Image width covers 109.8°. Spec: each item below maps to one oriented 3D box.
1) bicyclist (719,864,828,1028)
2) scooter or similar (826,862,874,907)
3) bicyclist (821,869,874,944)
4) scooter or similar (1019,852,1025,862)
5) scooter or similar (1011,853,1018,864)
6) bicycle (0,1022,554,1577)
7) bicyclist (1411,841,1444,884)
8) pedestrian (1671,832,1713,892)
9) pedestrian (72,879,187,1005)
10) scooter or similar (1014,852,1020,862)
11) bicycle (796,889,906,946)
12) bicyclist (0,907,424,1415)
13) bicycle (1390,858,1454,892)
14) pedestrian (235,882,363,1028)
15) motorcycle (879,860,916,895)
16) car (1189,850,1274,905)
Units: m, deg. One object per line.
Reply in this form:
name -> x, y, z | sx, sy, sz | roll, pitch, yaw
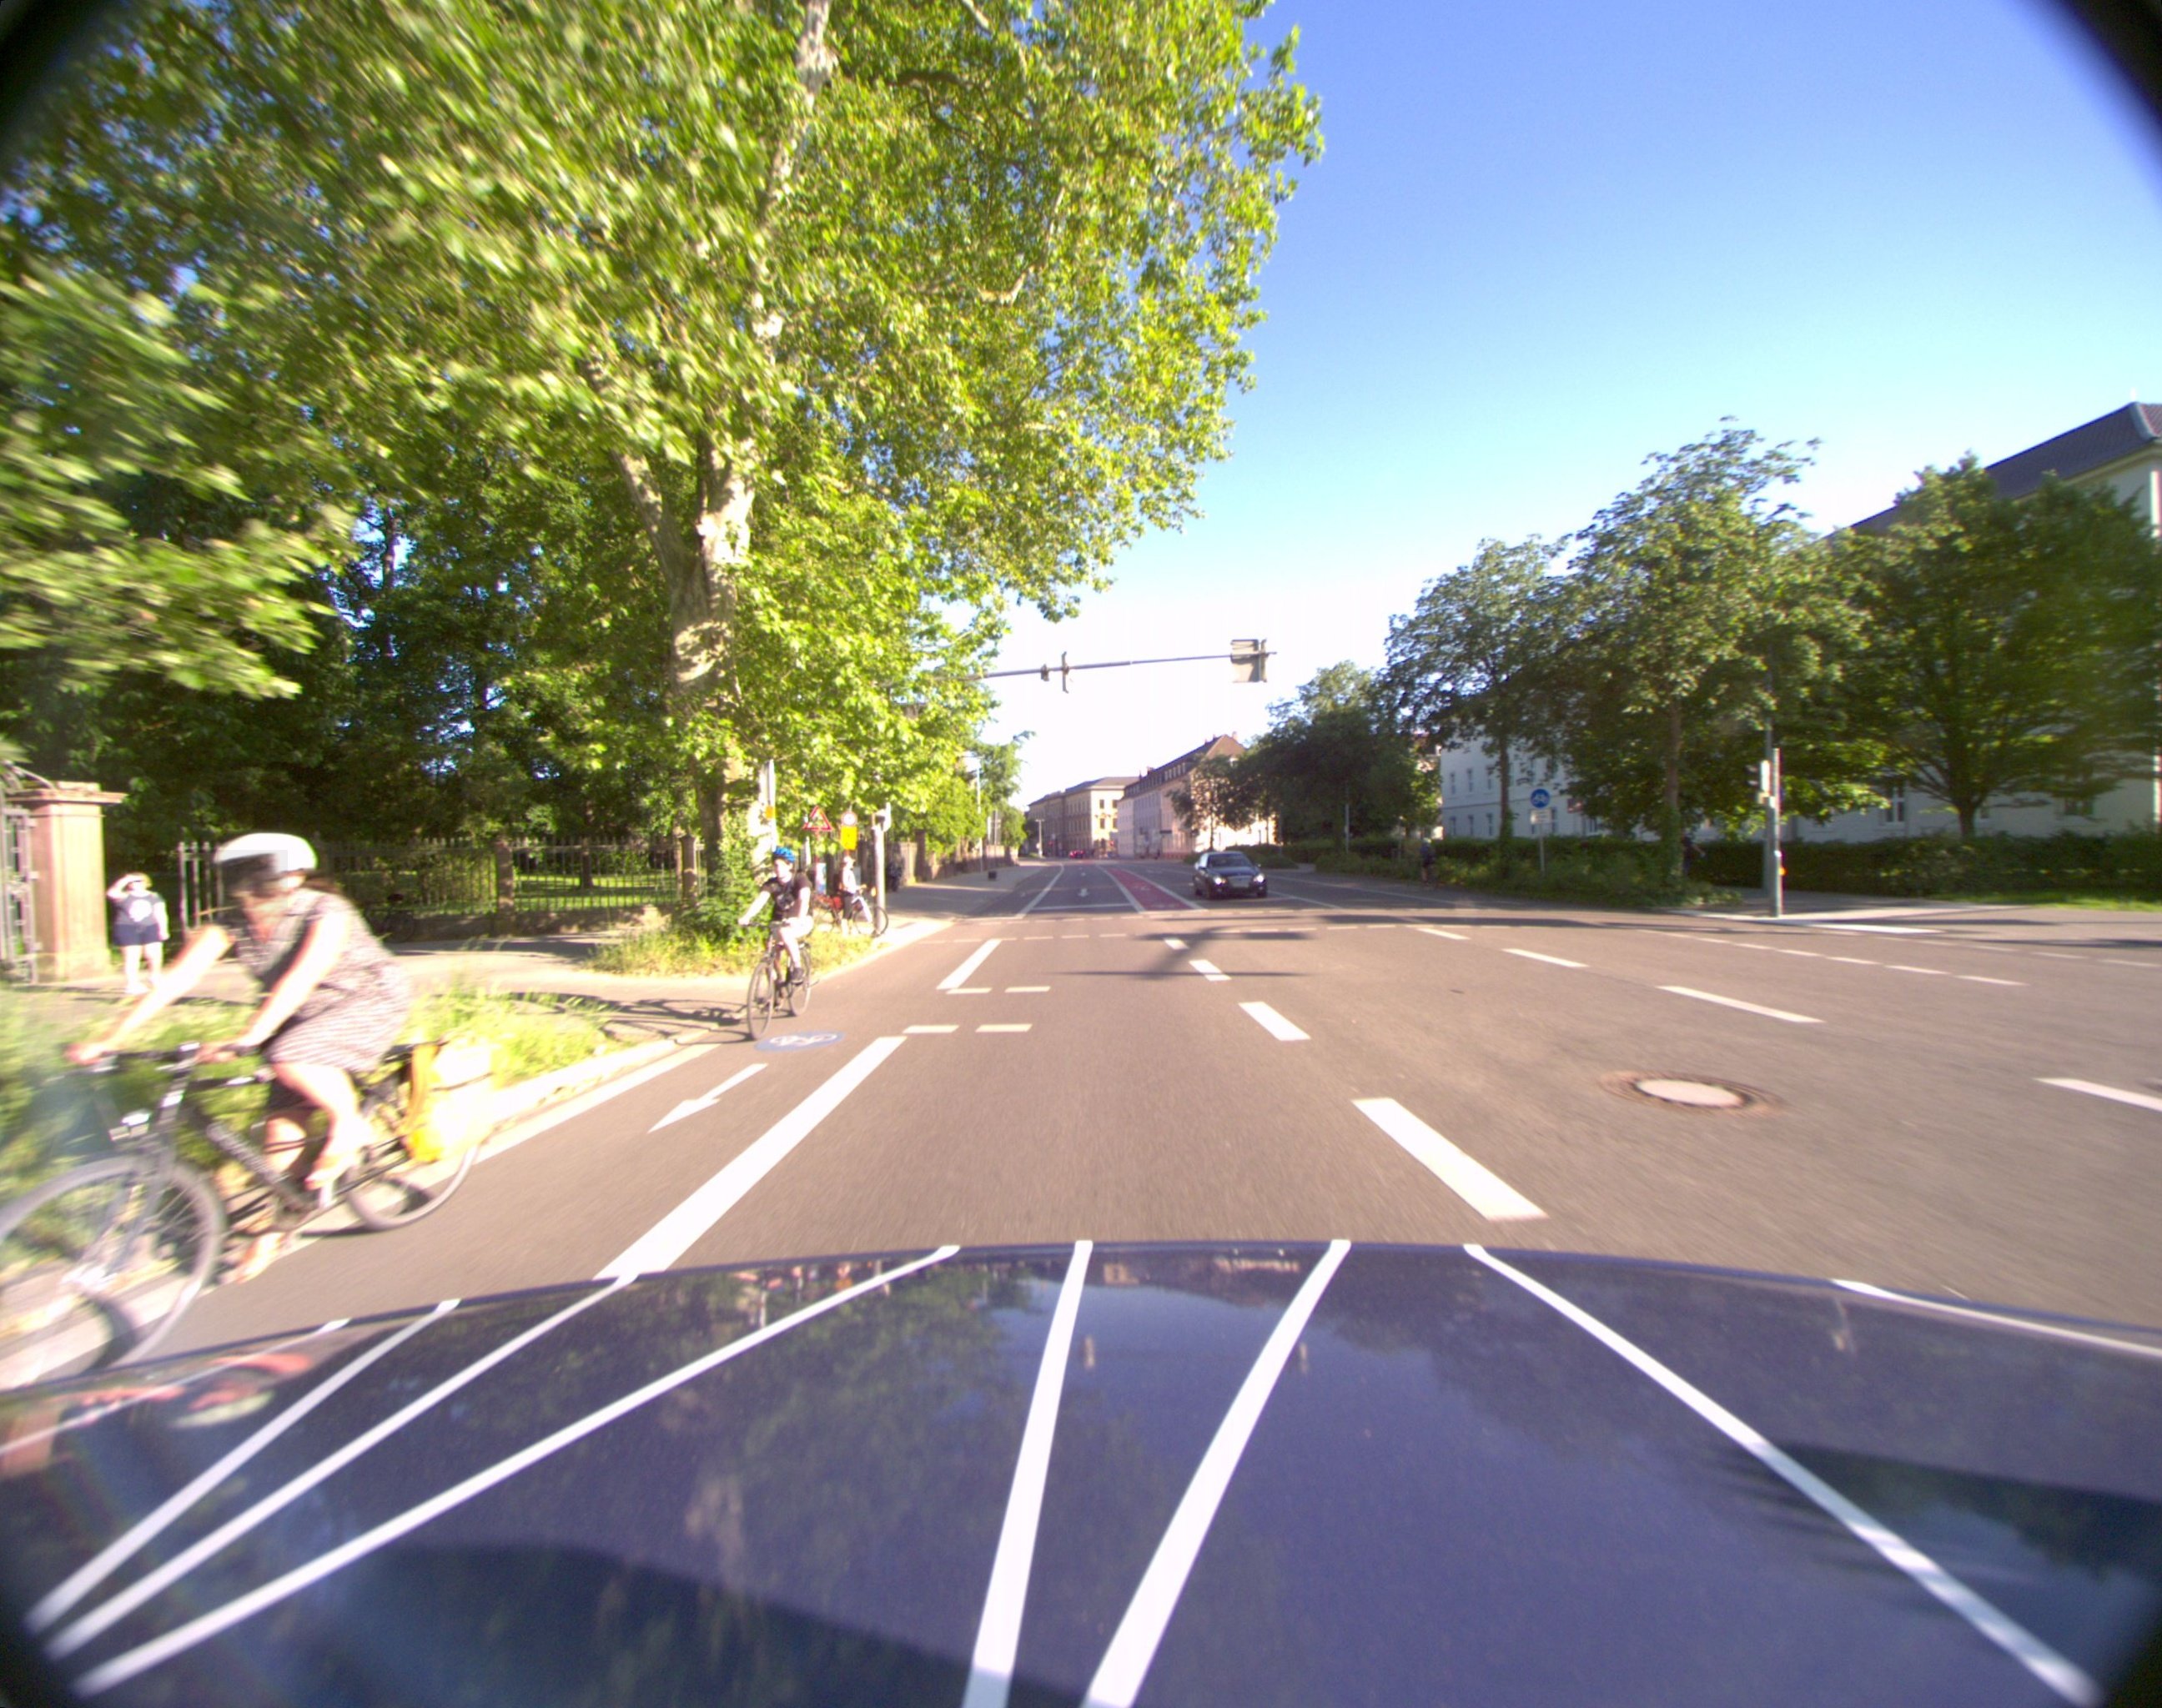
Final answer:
bicyclist -> -2.988, 0.856, 7.476 | 0.695, 1.493, 0.892 | -1, 1, -2
scooter or similar -> -6.919, 0.893, 22.862 | 0.794, 1.248, 1.836 | 3, 1, 1
bicyclist -> -4.684, 1.042, 15.307 | 0.766, 1.439, 0.696 | -1, 1, 8
scooter or similar -> -6.098, 0.317, 78.429 | 0.416, 1.035, 1.779 | -3, 1, 1
scooter or similar -> -6.662, 0.481, 76.087 | 0.416, 1.035, 1.779 | -3, 1, 1
bicycle -> -3.130, 1.398, 2.707 | 0.694, 1.089, 2.138 | -1, 1, 12
bicyclist -> 11.885, 0.290, 26.055 | 0.699, 1.457, 0.756 | -1, 1, -20
pedestrian -> 17.237, 0.219, 21.455 | 0.691, 1.672, 0.681 | -1, 1, 10
pedestrian -> -12.922, 1.165, 10.338 | 0.691, 1.624, 0.681 | -1, 1, 10
scooter or similar -> -6.622, 0.317, 78.415 | 0.416, 1.035, 1.779 | -3, 1, 1
bicycle -> -4.619, 1.271, 15.310 | 1.988, 1.089, 0.696 | -1, 1, 8
bicyclist -> -3.112, 0.967, 2.757 | 0.694, 1.482, 0.801 | -1, 1, 12
bicycle -> 11.772, 0.706, 26.346 | 0.699, 1.110, 2.185 | -1, 1, -20
pedestrian -> -8.720, 1.096, 8.494 | 0.691, 1.537, 0.681 | -1, 1, 10
motorcycle -> -7.096, 0.887, 29.486 | 0.906, 1.285, 2.038 | -1, 1, 1
car -> 4.550, 0.661, 23.585 | 1.722, 1.410, 4.526 | -3, 1, 1
